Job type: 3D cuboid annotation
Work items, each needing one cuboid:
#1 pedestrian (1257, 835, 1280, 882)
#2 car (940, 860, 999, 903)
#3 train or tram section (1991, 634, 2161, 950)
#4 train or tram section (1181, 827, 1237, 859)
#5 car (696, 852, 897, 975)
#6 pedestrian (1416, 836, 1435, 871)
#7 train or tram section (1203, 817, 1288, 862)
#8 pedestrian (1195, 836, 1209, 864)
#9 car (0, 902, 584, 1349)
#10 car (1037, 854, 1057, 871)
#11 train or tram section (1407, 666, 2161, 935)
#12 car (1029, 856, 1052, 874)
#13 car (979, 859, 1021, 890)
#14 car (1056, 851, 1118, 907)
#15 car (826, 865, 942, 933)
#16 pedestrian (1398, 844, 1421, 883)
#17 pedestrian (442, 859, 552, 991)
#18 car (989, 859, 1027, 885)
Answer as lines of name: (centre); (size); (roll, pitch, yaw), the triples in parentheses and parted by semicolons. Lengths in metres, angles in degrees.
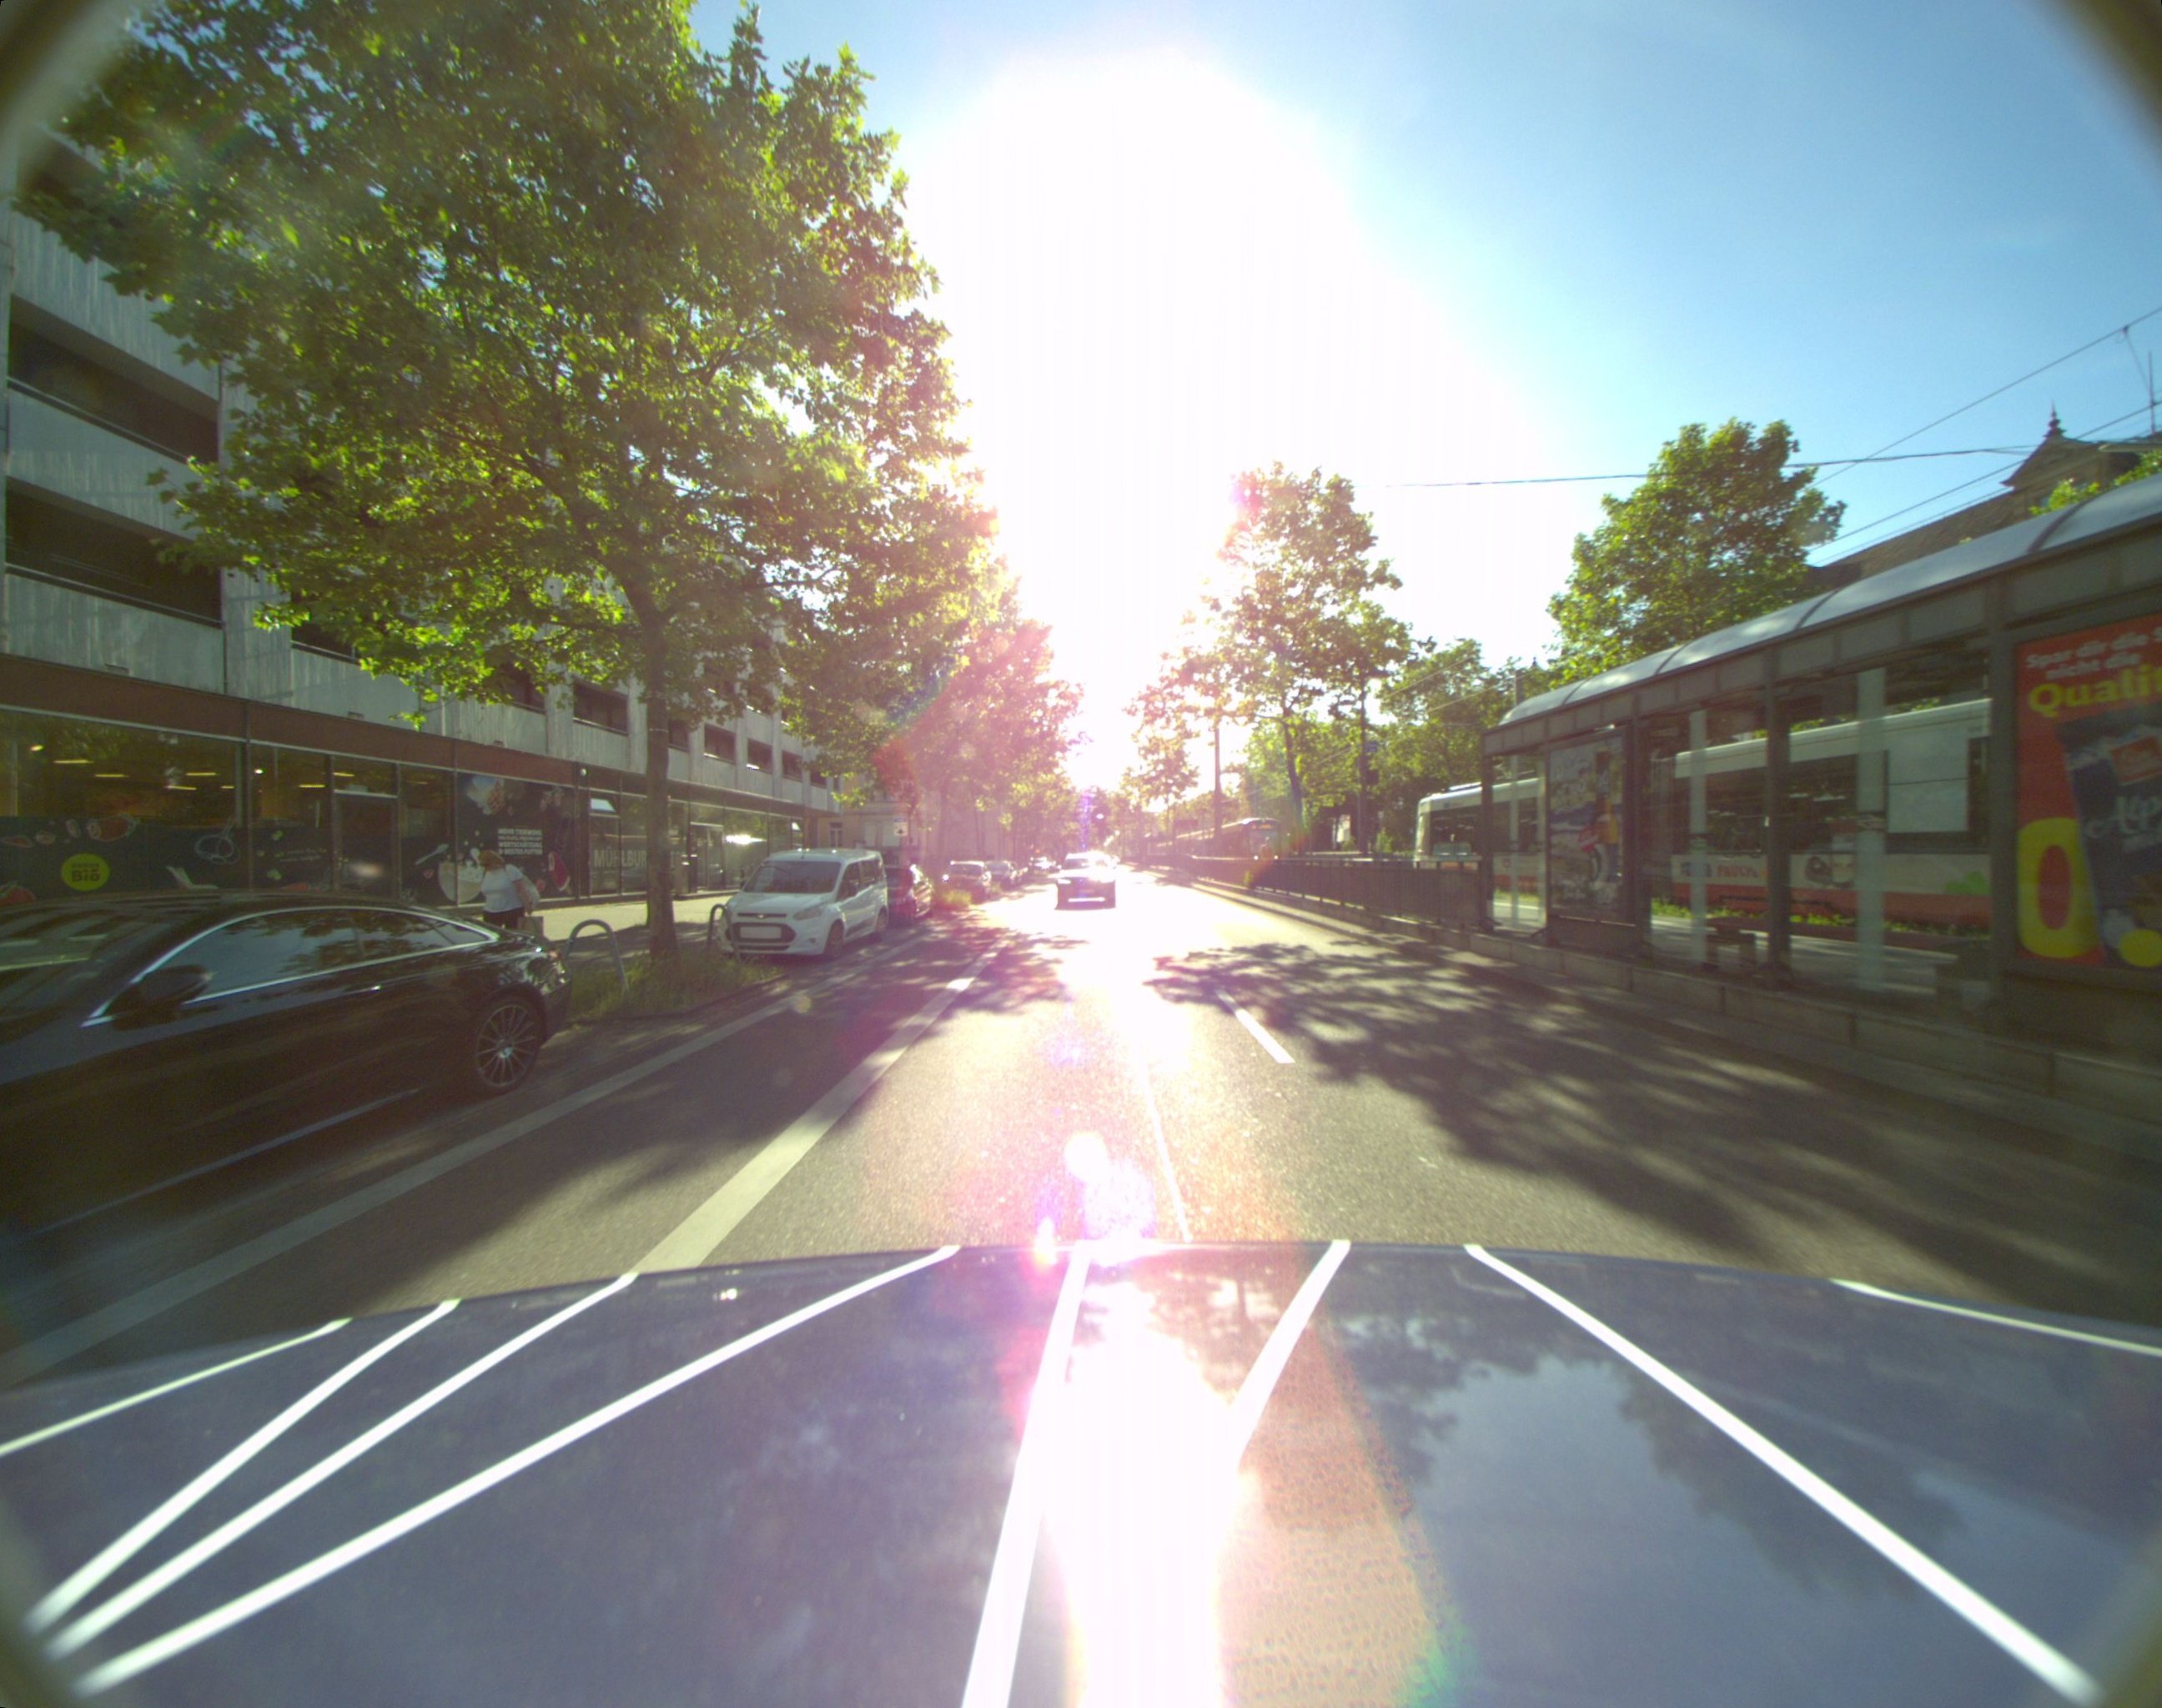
pedestrian: (6.870, 0.181, 27.910); (0.683, 1.700, 0.624); (-1, 1, 0)
car: (-4.218, 1.007, 29.174); (1.677, 1.430, 3.689); (2, 1, 0)
train or tram section: (12.975, -0.710, 0.649); (2.856, 3.414, 18.215); (-2, 0, 1)
train or tram section: (10.918, -0.870, 66.422); (2.569, 2.516, 15.073); (-1, 0, 1)
car: (-4.711, 0.879, 13.347); (1.768, 1.781, 4.393); (1, 0, 1)
pedestrian: (17.533, -0.034, 38.703); (0.625, 1.791, 0.624); (1, 1, -42)
train or tram section: (10.629, -0.844, 51.059); (2.569, 2.549, 15.675); (-1, 0, 1)
pedestrian: (7.138, -0.229, 44.730); (0.700, 1.626, 0.761); (-1, 1, 1)
car: (-4.798, 1.099, 3.590); (1.766, 1.409, 4.700); (-1, 0, 0)
car: (-3.529, 0.873, 80.033); (1.839, 1.666, 4.273); (-1, 0, 1)
train or tram section: (13.360, -0.692, 18.985); (2.878, 3.414, 18.276); (-2, 0, 1)
car: (-3.731, 1.021, 70.498); (1.839, 1.556, 4.273); (-1, 0, 1)
car: (-4.062, 1.024, 38.720); (1.629, 1.433, 3.930); (1, 0, 1)
car: (0.217, 0.755, 25.684); (1.914, 1.695, 4.273); (-1, 0, 1)
car: (-4.765, 1.036, 19.030); (1.733, 1.395, 4.295); (1, 0, 0)
pedestrian: (14.872, 0.435, 34.456); (0.676, 1.746, 0.813); (-1, 1, 0)
pedestrian: (-7.528, 0.880, 9.830); (0.699, 1.603, 0.868); (2, 1, 3)
car: (-4.212, 1.012, 44.427); (1.781, 1.373, 4.276); (-1, 0, 1)
